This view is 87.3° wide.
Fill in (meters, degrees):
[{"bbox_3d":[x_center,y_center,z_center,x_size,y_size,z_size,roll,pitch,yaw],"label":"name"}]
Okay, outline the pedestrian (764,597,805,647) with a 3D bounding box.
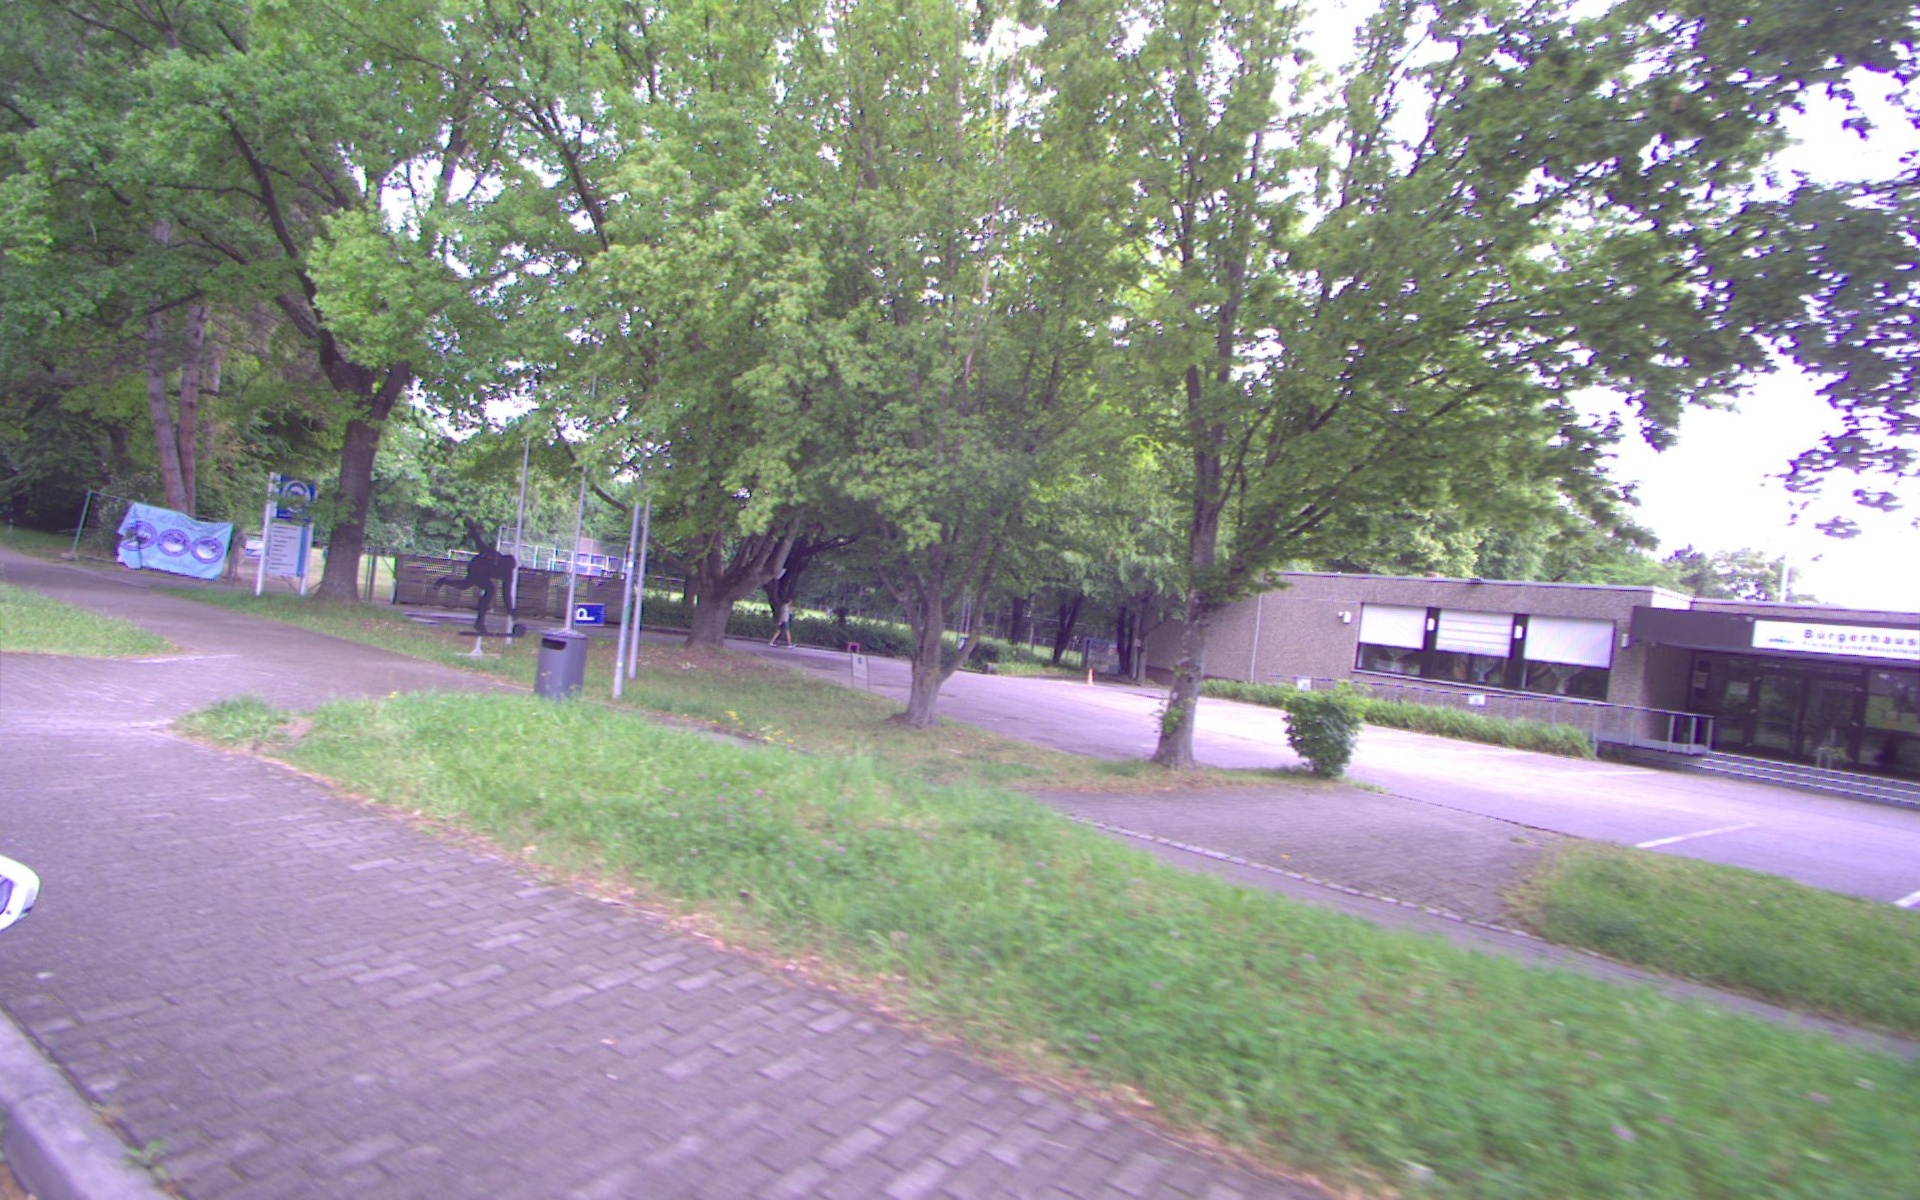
[{"bbox_3d":[-6.381,0.809,36.487,1.139,1.695,0.787,5,1,-31],"label":"pedestrian"}]
